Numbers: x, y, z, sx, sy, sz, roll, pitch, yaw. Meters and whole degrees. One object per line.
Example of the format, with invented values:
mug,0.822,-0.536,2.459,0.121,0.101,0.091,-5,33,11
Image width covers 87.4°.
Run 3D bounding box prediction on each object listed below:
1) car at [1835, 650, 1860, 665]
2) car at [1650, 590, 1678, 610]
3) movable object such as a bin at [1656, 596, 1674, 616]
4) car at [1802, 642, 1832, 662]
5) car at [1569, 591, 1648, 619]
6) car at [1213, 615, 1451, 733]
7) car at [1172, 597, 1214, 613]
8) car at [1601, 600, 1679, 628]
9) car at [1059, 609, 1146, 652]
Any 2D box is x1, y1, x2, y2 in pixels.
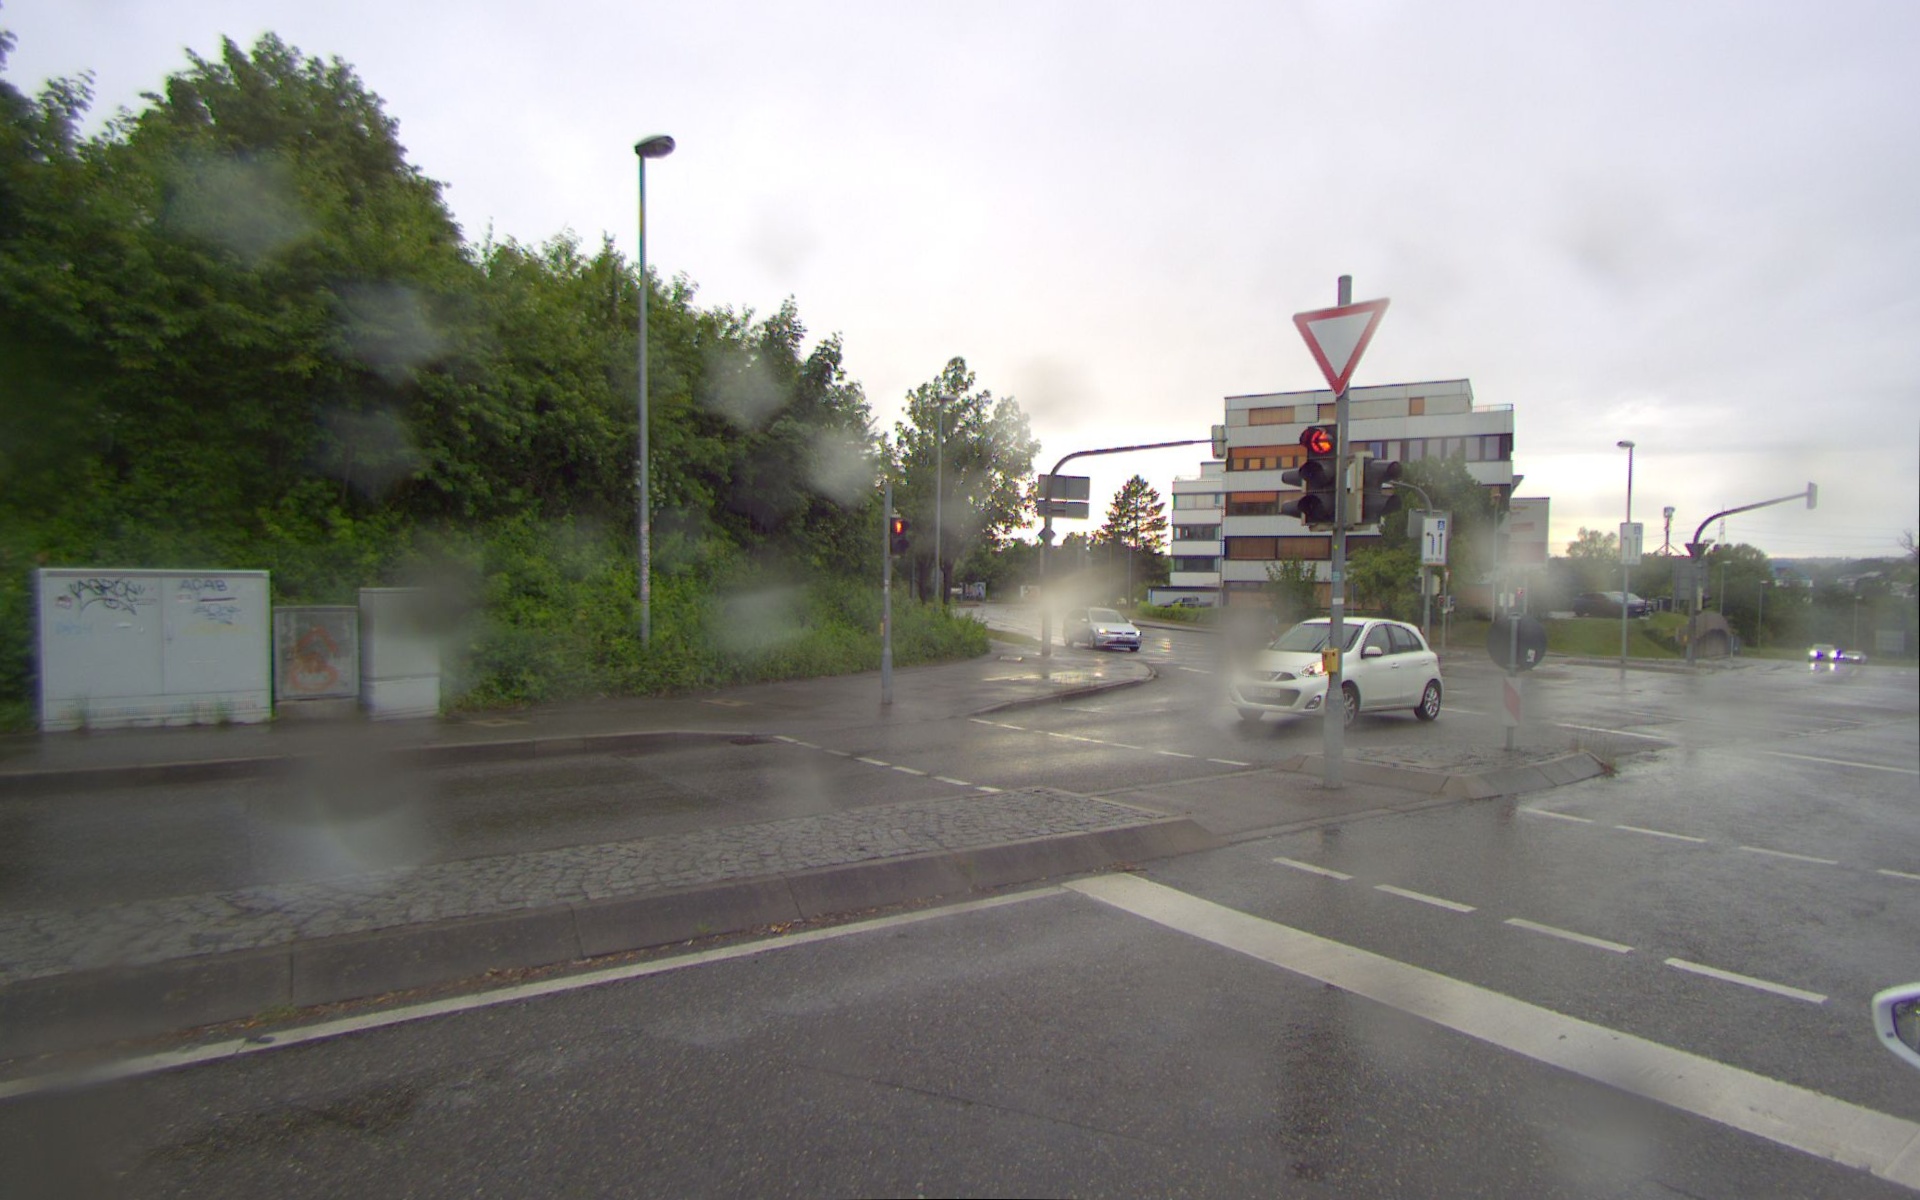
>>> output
car,100.141,6.451,113.326,3.971,1.514,1.704,3,-1,-43
car,60.898,0.038,86.952,1.802,1.461,3.990,3,-1,33
movable object such as a bin,55.724,0.490,79.384,1.069,1.456,1.443,3,0,34
car,68.343,4.116,80.146,1.641,1.514,3.984,2,-1,38
car,42.435,0.296,65.806,1.874,1.607,3.981,4,0,-21
car,5.564,0.994,14.858,3.789,1.525,1.608,1,-1,-39
car,22.335,0.454,96.301,3.686,1.418,2.000,1,1,19
car,44.834,0.906,66.323,1.872,1.607,3.985,4,0,-17
car,5.091,1.071,36.528,1.731,1.381,4.523,2,0,-11
